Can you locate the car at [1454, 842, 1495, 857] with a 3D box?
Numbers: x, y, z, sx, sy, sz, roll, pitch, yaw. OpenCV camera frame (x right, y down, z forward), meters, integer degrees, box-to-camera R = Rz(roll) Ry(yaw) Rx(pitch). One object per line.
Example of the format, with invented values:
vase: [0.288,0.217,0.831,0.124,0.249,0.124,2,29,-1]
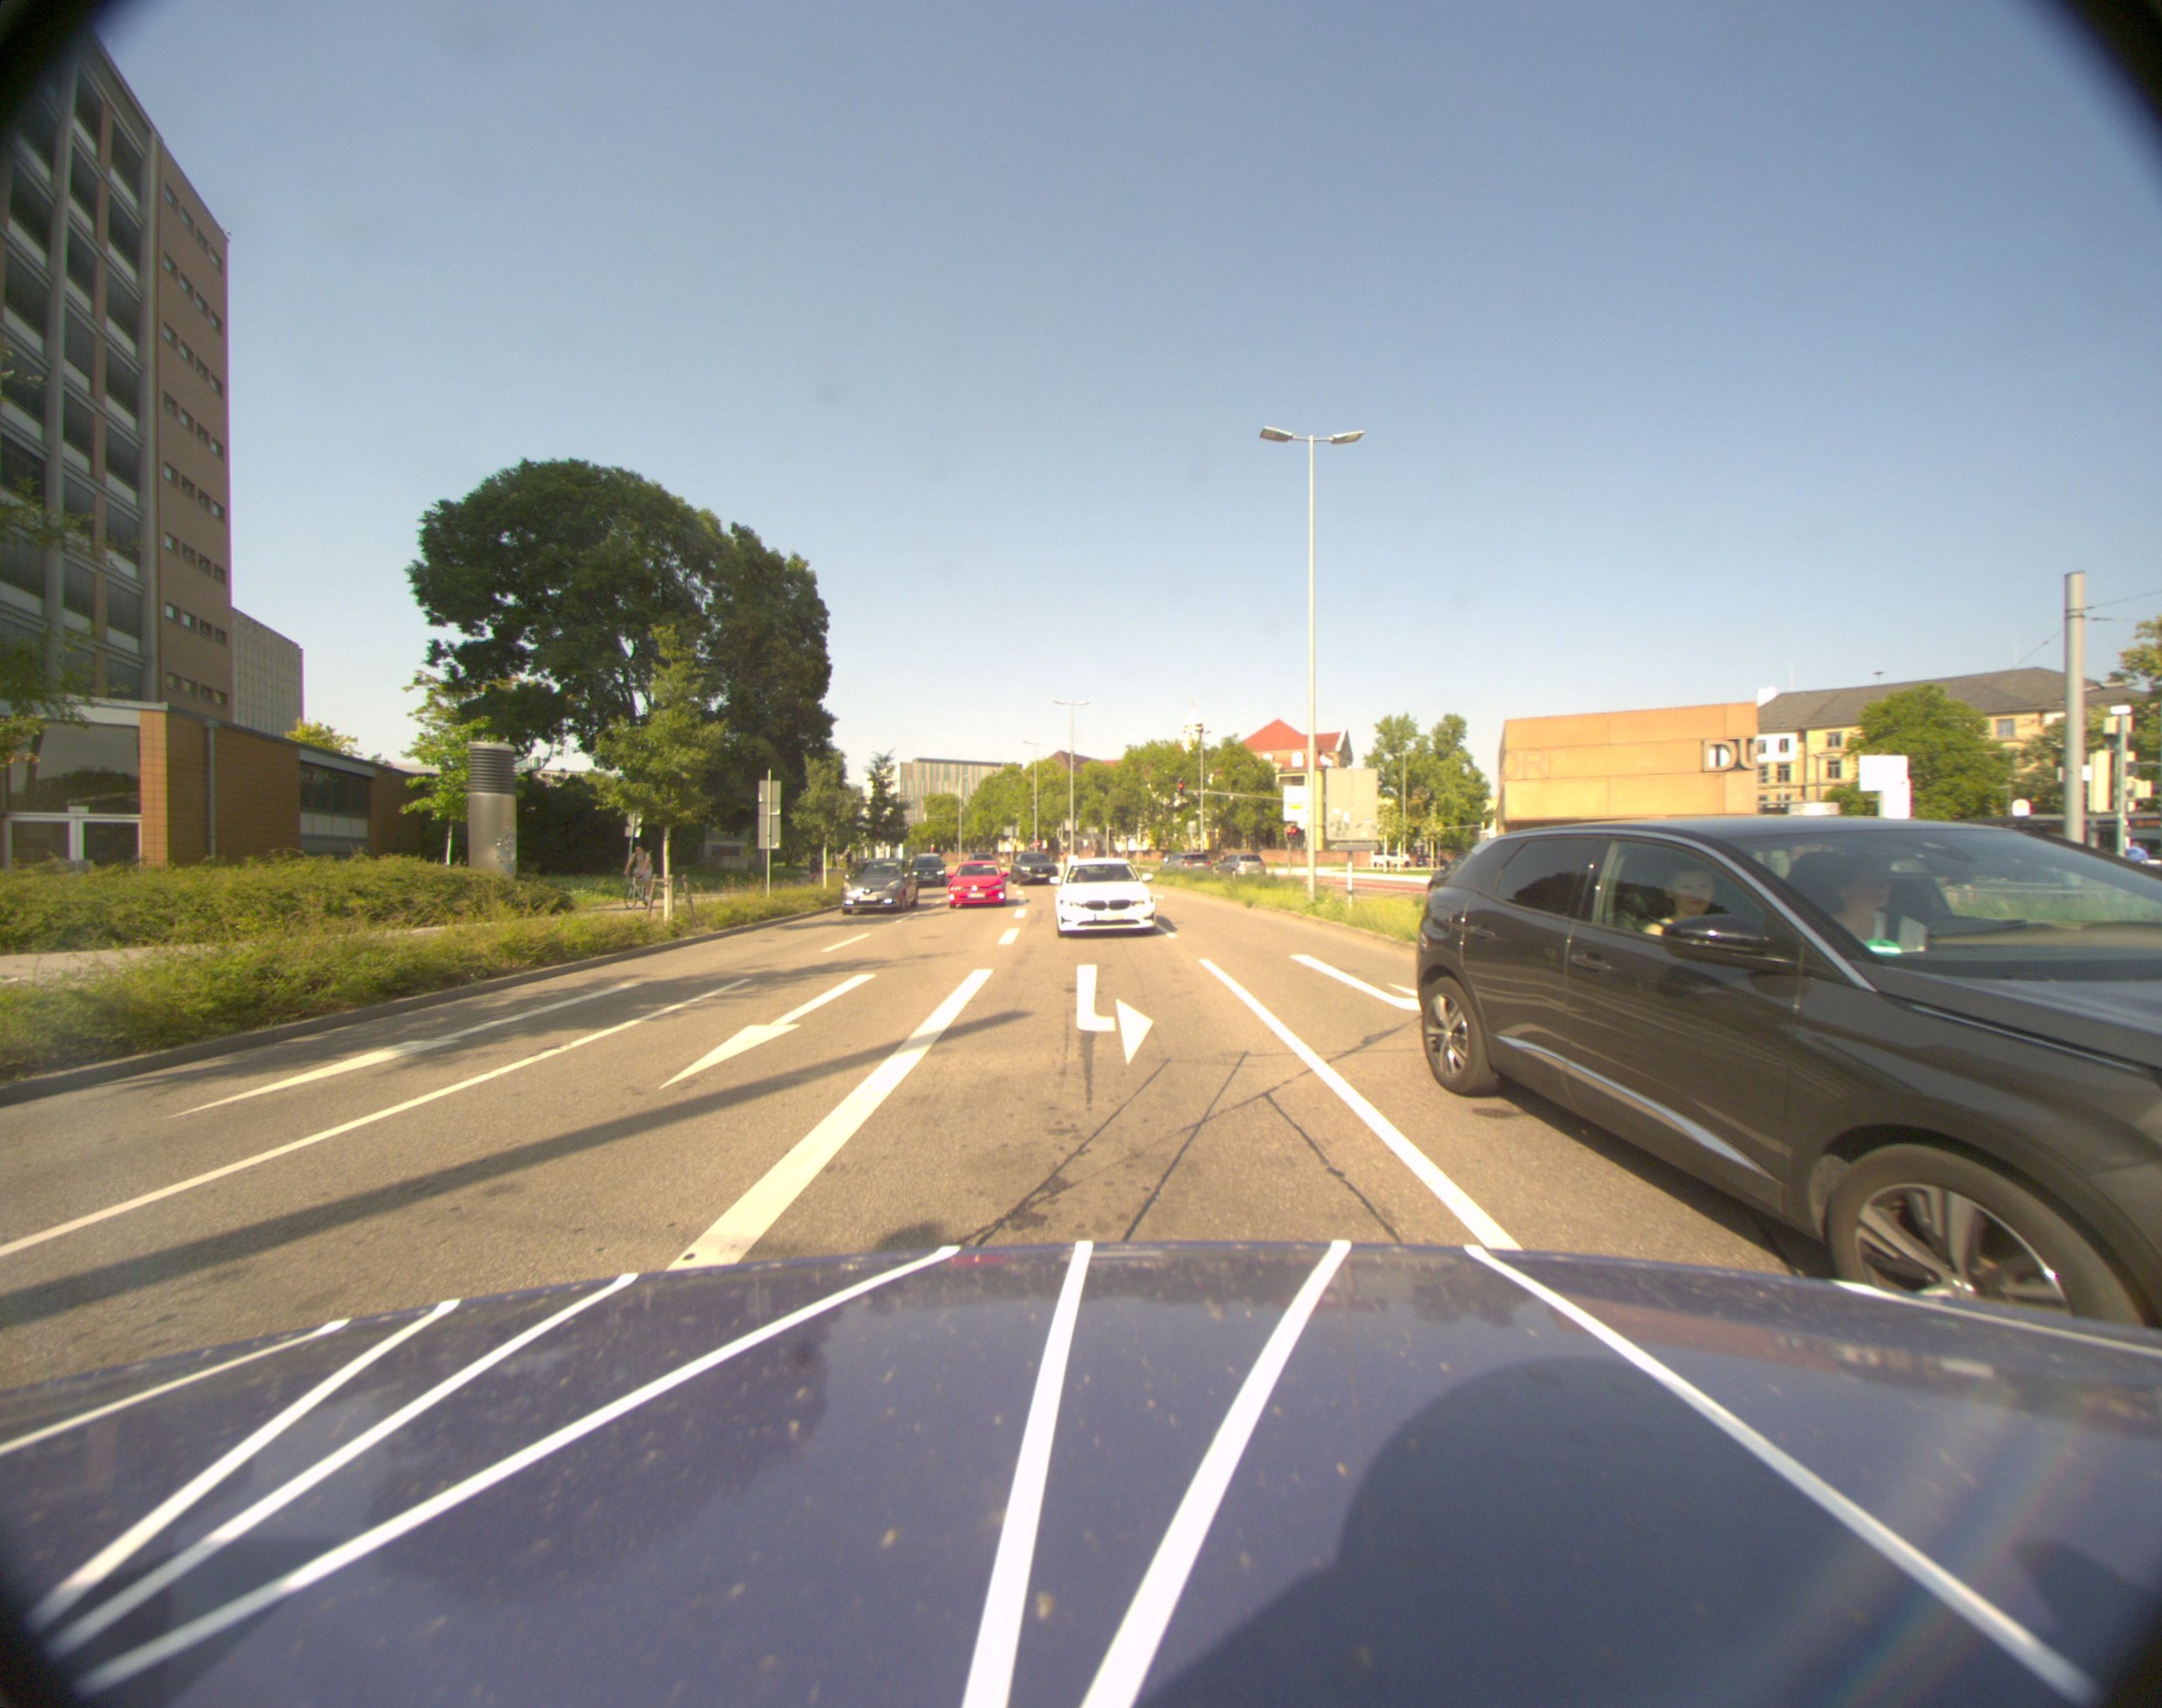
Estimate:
car: [43.141,-0.454,83.196,4.379,1.623,1.995,0,0,-31]

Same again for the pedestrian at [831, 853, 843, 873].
pedestrian: [-22.795,0.853,71.084,0.961,1.772,1.001,2,0,-14]

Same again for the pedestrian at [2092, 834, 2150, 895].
pedestrian: [30.944,0.299,22.611,0.780,1.790,0.700,0,1,-7]

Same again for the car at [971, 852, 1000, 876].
car: [-7.520,0.813,59.722,1.784,1.710,4.529,-3,0,-13]

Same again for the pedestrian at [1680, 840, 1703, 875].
pedestrian: [31.088,0.181,38.698,0.717,1.727,0.858,0,1,26]

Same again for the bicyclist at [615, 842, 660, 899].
bicyclist: [-12.723,0.470,21.822,0.773,1.584,0.923,-1,1,-6]

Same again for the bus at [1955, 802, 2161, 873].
bus: [49.011,-0.746,37.525,3.290,2.960,12.820,0,1,28]

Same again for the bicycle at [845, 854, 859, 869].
bicycle: [-17.133,0.544,56.838,0.774,1.111,2.301,-1,1,-12]

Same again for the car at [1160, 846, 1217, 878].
car: [5.793,0.399,41.496,1.700,1.608,4.456,0,1,-12]

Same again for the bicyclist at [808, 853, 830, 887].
bicyclist: [-11.907,0.726,34.522,0.721,1.504,1.004,0,1,-6]

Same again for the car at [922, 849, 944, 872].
car: [-12.610,0.531,64.539,1.689,1.930,4.367,0,0,-13]

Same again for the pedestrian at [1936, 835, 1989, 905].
pedestrian: [23.398,0.413,20.176,0.699,1.790,0.781,0,1,32]

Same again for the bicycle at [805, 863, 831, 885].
bicycle: [-11.901,0.892,34.424,0.721,0.954,1.920,0,1,-7]

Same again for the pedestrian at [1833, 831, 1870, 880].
pedestrian: [28.476,0.039,28.096,0.699,1.790,0.781,0,1,25]

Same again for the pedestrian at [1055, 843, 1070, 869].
pedestrian: [-1.151,0.126,47.922,0.667,1.645,0.780,0,1,25]

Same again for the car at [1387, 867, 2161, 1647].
car: [2.974,0.838,3.016,1.687,1.483,4.371,0,0,-1]

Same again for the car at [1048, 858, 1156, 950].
car: [0.546,0.844,14.795,1.782,1.474,4.535,0,0,5]

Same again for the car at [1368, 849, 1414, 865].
car: [31.528,0.305,77.237,4.379,1.624,1.995,0,0,-29]

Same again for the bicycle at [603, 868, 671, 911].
bicycle: [-12.715,0.993,21.835,0.773,1.111,2.302,-1,1,-6]

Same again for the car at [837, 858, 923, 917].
car: [-6.077,0.955,23.453,1.783,1.596,4.419,-1,0,-5]

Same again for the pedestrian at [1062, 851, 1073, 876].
pedestrian: [-0.893,0.632,50.540,0.669,1.689,0.691,0,1,-11]

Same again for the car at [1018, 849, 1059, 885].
car: [-2.306,0.661,40.141,1.783,1.682,4.531,-3,0,-7]

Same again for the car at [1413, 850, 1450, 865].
car: [37.171,0.343,80.513,3.856,1.489,1.622,-1,1,-30]

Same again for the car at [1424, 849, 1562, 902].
car: [12.010,0.573,22.439,1.894,1.443,3.673,0,0,-4]

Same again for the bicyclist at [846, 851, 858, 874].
bicyclist: [-17.117,0.616,56.791,0.774,1.666,0.923,-1,1,-12]

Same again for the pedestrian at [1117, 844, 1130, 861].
pedestrian: [5.020,-0.155,89.080,1.080,2.002,1.316,-1,1,-20]

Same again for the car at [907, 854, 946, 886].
car: [-8.451,0.827,41.460,1.941,1.597,4.529,-1,0,-12]

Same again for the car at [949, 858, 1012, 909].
car: [-3.212,0.908,24.964,1.687,1.483,4.371,0,0,-3]

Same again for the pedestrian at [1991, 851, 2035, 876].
pedestrian: [42.758,0.449,34.873,1.028,1.126,0.739,0,1,20]

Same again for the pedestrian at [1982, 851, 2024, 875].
pedestrian: [43.206,0.419,35.621,1.028,1.126,0.739,0,1,20]

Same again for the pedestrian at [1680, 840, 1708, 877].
pedestrian: [29.012,0.204,35.996,0.864,1.695,0.733,0,1,24]

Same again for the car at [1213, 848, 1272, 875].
car: [8.935,0.399,42.360,1.819,1.425,4.221,0,1,-9]

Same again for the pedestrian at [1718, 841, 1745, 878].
pedestrian: [29.058,0.253,33.966,0.717,1.621,0.858,0,1,26]

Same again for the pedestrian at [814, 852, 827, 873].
pedestrian: [-18.230,0.583,53.252,0.727,1.435,0.856,0,1,-9]

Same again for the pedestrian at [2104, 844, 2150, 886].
pedestrian: [44.009,0.457,31.977,0.829,1.728,0.837,0,1,26]
